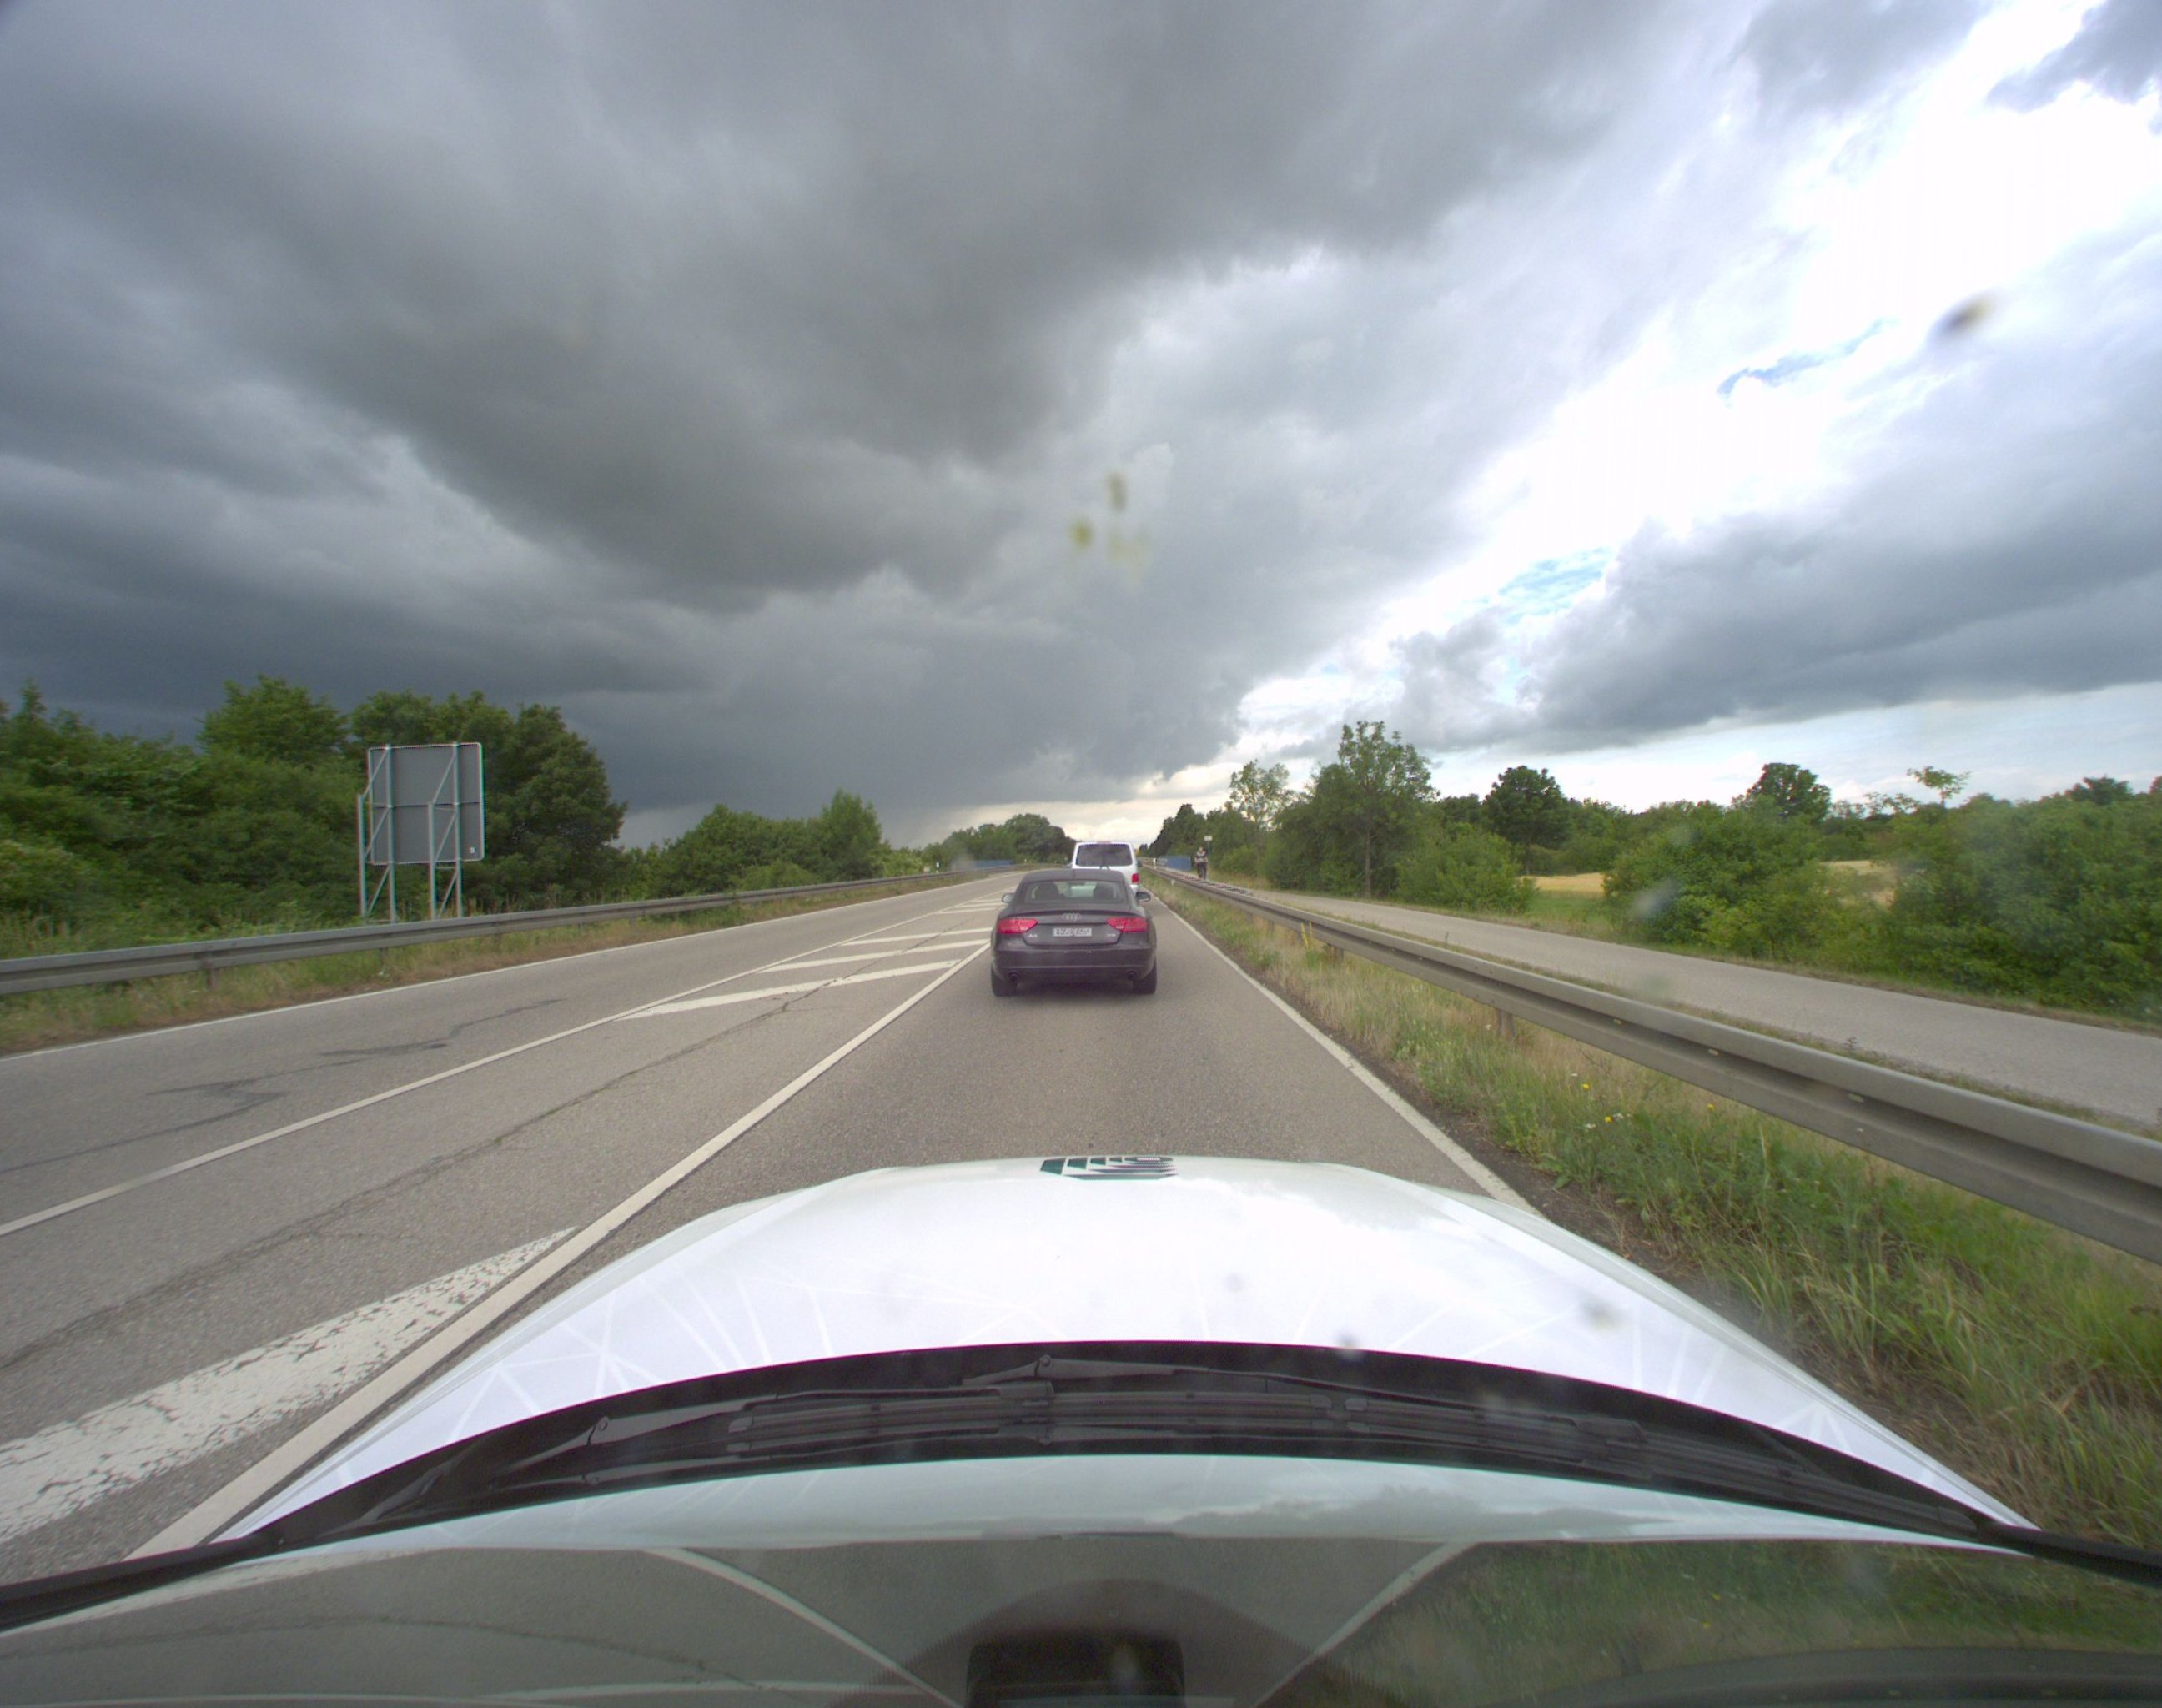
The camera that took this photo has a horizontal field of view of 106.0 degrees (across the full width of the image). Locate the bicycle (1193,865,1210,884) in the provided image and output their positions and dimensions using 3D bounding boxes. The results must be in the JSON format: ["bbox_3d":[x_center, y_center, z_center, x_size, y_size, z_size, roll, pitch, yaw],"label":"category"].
[{"bbox_3d":[6.327,1.067,42.974,0.663,0.920,1.831,-2,-1,2],"label":"bicycle"}]

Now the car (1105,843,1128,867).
[{"bbox_3d":[3.877,0.150,88.439,2.438,2.504,5.044,0,0,2],"label":"car"}]

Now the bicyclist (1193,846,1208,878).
[{"bbox_3d":[6.313,0.431,43.031,0.644,1.645,0.866,-2,-1,2],"label":"bicyclist"}]

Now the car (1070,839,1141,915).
[{"bbox_3d":[0.678,0.613,22.489,1.779,1.890,4.001,0,-1,2],"label":"car"}]

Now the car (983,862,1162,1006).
[{"bbox_3d":[-0.025,0.825,10.123,1.779,1.424,4.001,0,-1,2],"label":"car"}]
